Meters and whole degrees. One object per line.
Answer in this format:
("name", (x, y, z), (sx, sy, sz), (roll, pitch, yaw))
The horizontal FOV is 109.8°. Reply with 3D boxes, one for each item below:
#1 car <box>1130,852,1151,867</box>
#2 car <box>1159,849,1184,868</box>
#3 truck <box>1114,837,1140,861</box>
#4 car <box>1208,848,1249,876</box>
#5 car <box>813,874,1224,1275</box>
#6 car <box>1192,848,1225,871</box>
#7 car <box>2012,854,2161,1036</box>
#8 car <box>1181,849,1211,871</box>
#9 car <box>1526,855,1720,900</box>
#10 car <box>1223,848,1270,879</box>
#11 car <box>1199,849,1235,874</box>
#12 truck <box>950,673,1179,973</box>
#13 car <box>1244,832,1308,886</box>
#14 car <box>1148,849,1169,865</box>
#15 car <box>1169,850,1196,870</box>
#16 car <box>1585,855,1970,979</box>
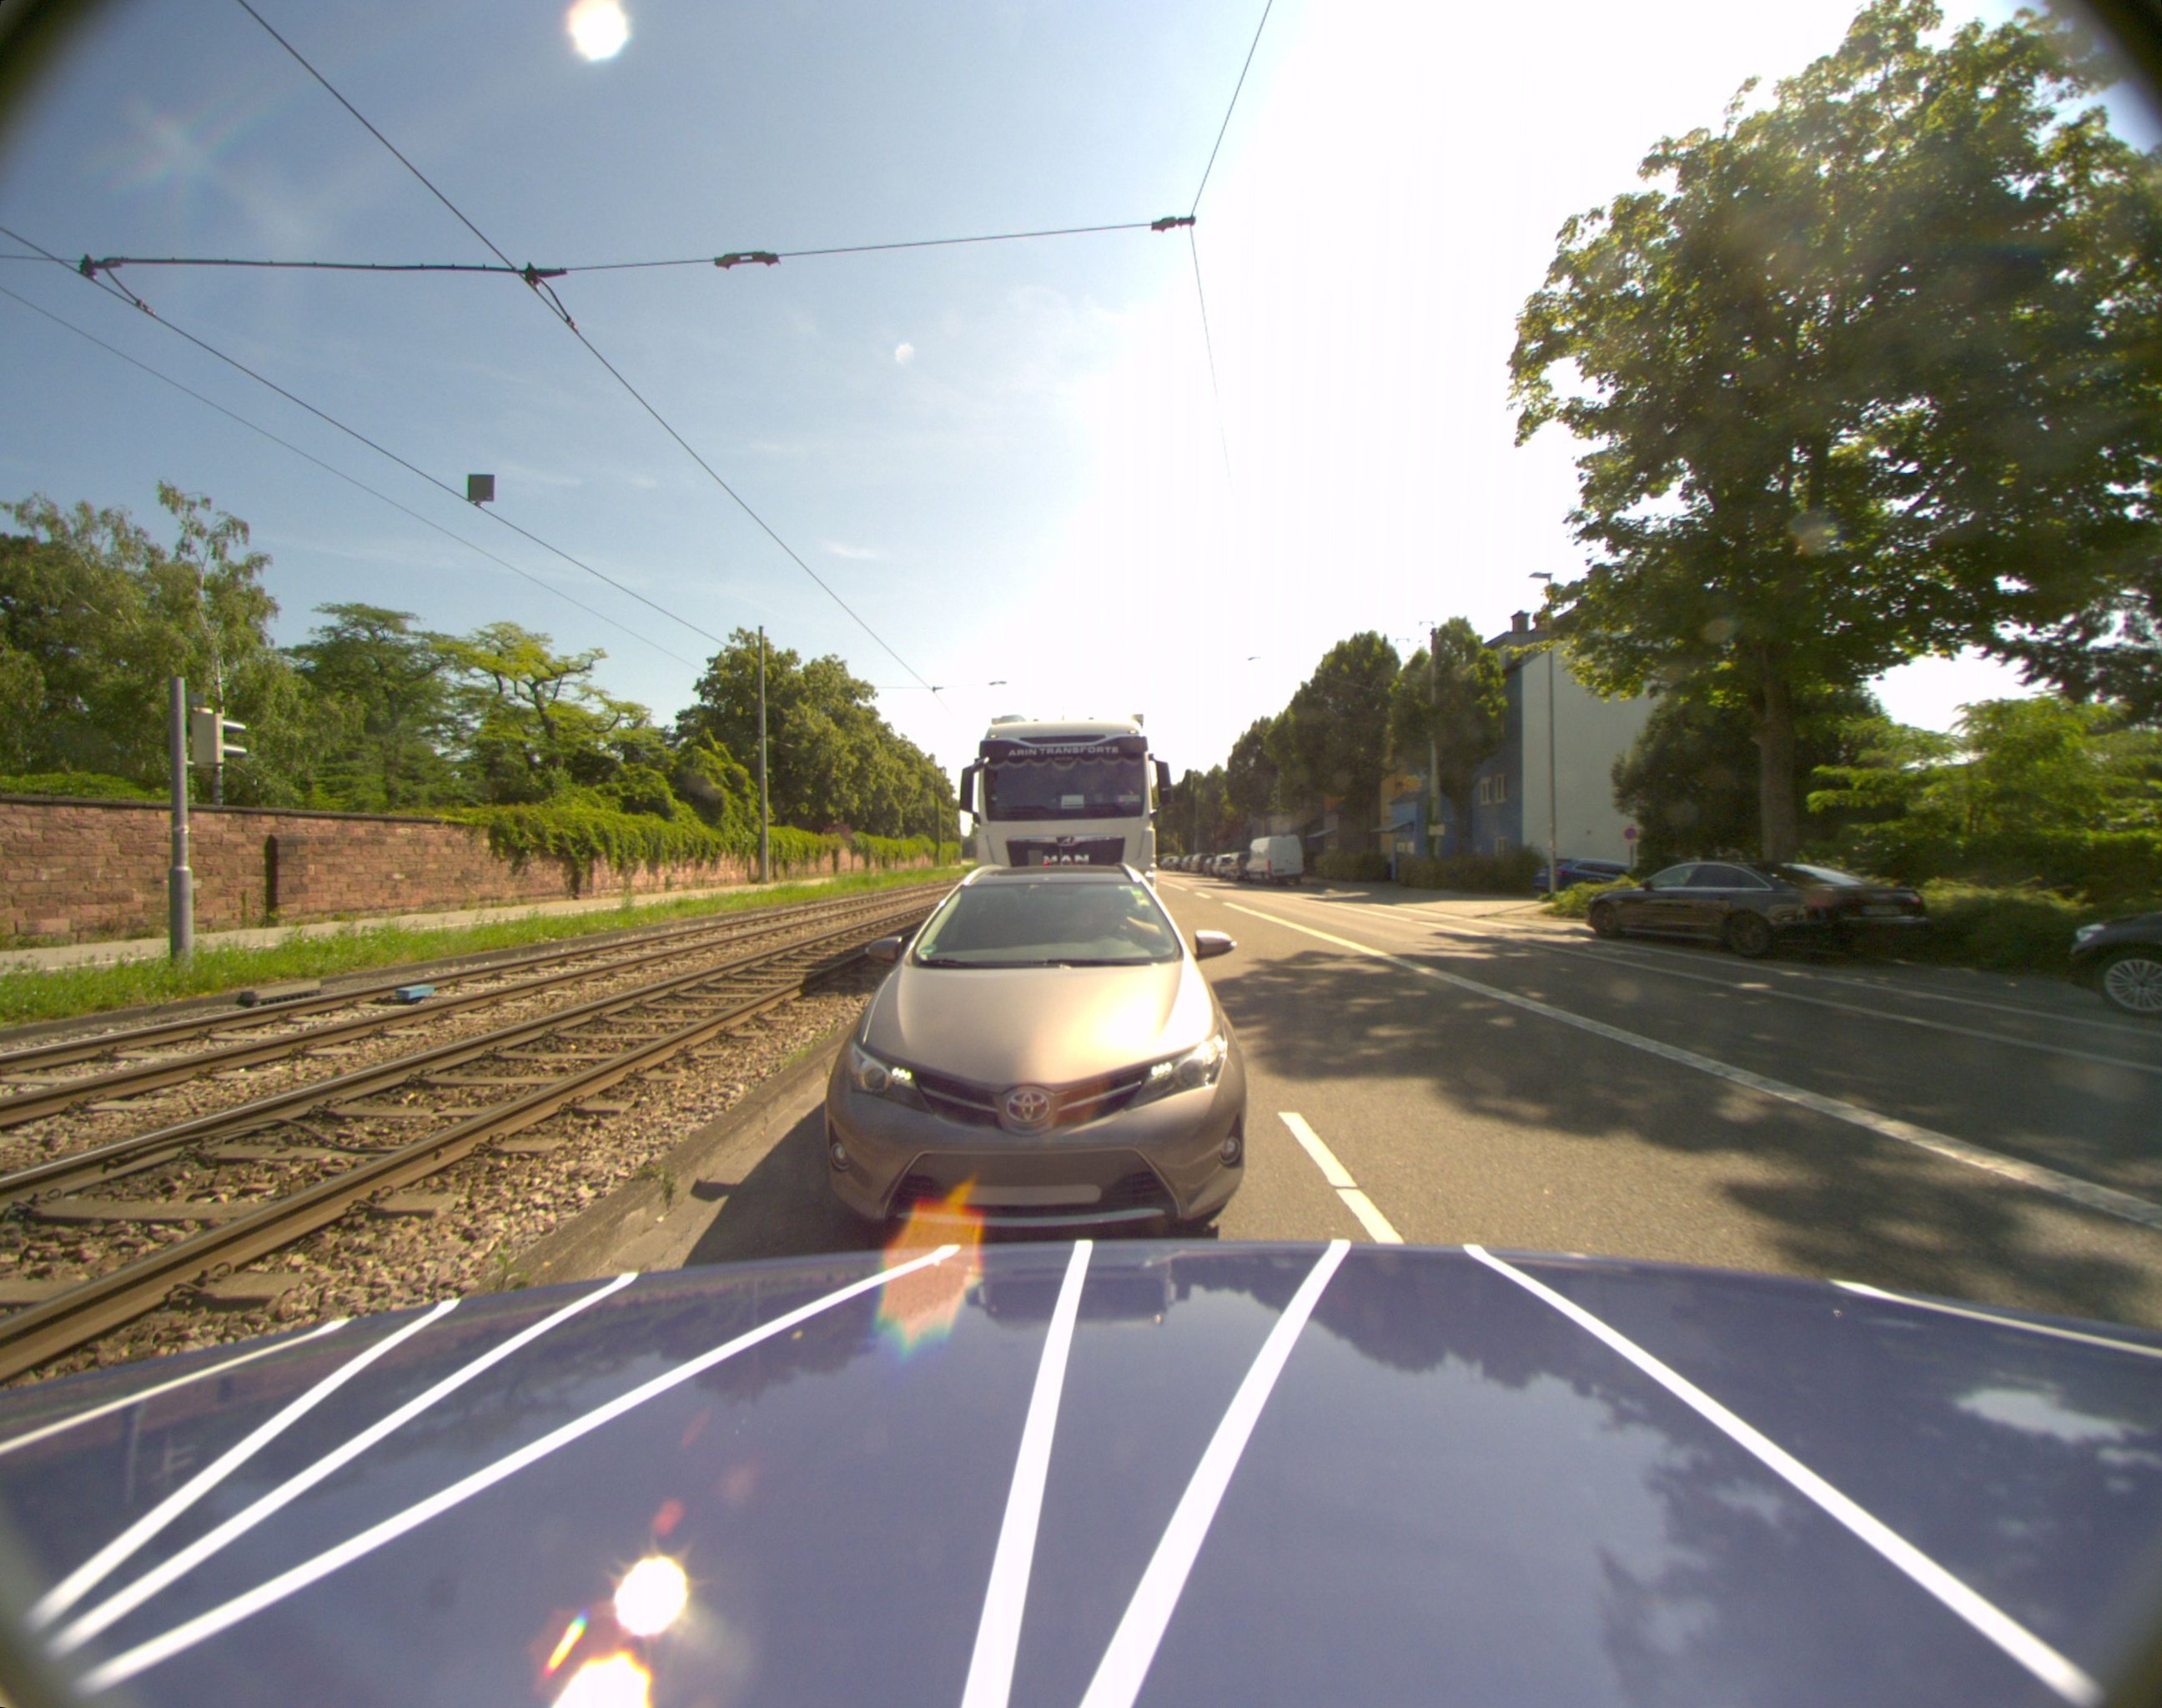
("car", (8.268, 0.821, 105.567), (1.999, 1.795, 5.111), (-6, 0, -4))
("car", (10.188, 0.499, 85.908), (1.998, 1.795, 4.769), (-6, 0, 0))
("truck", (6.973, -0.647, 116.105), (2.704, 3.263, 6.724), (-6, 0, -5))
("car", (11.079, 0.586, 57.377), (1.998, 1.795, 4.769), (-6, 0, 0))
("car", (-0.215, 0.901, 4.914), (1.573, 1.422, 4.000), (0, 0, 1))
("car", (11.284, 0.492, 67.672), (1.998, 1.795, 4.769), (-6, 0, 0))
("car", (10.592, 0.815, 5.567), (1.868, 1.562, 4.621), (-2, 0, 0))
("car", (11.017, 0.571, 73.376), (1.998, 1.795, 4.769), (-6, 0, 0))
("car", (18.111, 0.767, 25.582), (5.070, 1.422, 1.891), (0, 0, 4))
("car", (11.138, 0.641, 51.445), (1.998, 1.795, 4.769), (-6, 0, 0))
("car", (11.223, 0.576, 62.861), (1.998, 1.795, 4.256), (-6, 0, 0))
("truck", (-0.117, -0.410, 17.238), (2.935, 3.856, 14.913), (0, 0, 1))
("car", (10.933, 0.251, 43.148), (1.998, 2.678, 6.214), (-6, 0, 2))
("car", (9.906, 0.391, 96.866), (1.998, 1.795, 4.769), (-6, 0, 0))
("car", (10.566, 0.649, 79.165), (1.998, 1.795, 4.769), (-6, 0, 0))
("car", (10.566, 0.817, 12.157), (1.868, 1.562, 4.621), (-1, 0, -2))
